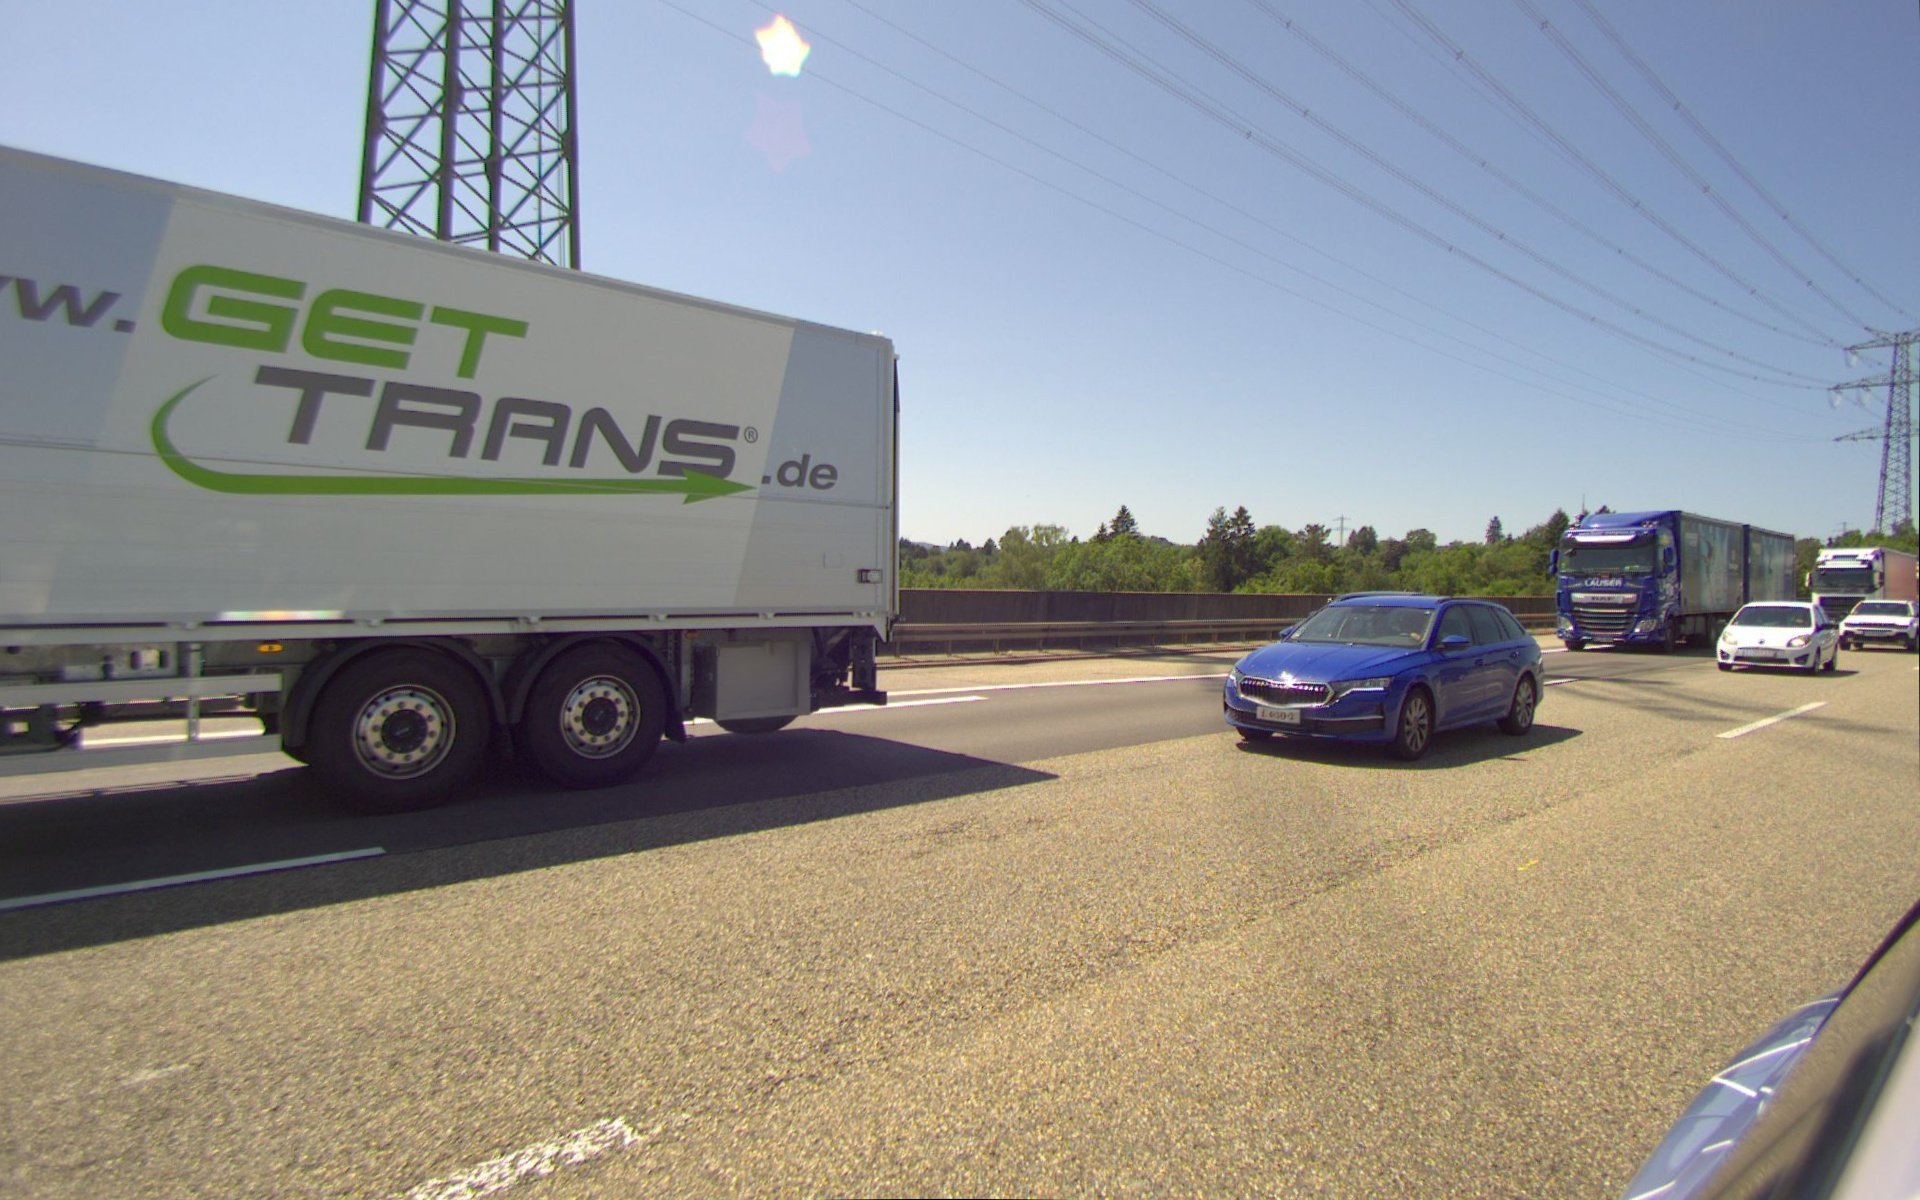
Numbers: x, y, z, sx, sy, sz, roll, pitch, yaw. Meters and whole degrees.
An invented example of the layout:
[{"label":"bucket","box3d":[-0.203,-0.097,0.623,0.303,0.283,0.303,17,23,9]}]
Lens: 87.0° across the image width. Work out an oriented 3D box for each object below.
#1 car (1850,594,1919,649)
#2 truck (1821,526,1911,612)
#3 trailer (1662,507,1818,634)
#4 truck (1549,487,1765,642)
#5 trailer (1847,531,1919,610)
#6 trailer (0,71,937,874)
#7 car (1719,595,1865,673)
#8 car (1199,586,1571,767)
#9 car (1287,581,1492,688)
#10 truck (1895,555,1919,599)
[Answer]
[{"label":"car","box3d":[28.428,0.589,30.626,4.071,1.528,1.711,-1,1,-40]},{"label":"truck","box3d":[46.229,-1.518,51.549,8.123,4.037,2.605,-1,0,-42]},{"label":"trailer","box3d":[28.435,-1.014,36.713,8.486,4.140,2.833,-1,0,-41]},{"label":"truck","box3d":[21.336,-0.993,30.629,10.211,3.999,2.857,-1,1,-41]},{"label":"trailer","box3d":[52.684,-1.601,57.220,8.927,4.169,2.606,-1,0,-41]},{"label":"trailer","box3d":[-4.170,-0.659,7.382,8.073,3.940,2.903,-1,1,-42]},{"label":"car","box3d":[17.598,0.641,21.351,4.071,1.470,1.711,-1,1,-40]},{"label":"car","box3d":[4.519,0.603,10.413,4.483,1.470,1.711,-1,1,-41]},{"label":"car","box3d":[7.615,0.510,17.780,4.045,1.675,1.711,-1,1,-40]},{"label":"truck","box3d":[68.824,-1.641,72.379,6.139,3.018,2.249,-1,4,-43]}]
